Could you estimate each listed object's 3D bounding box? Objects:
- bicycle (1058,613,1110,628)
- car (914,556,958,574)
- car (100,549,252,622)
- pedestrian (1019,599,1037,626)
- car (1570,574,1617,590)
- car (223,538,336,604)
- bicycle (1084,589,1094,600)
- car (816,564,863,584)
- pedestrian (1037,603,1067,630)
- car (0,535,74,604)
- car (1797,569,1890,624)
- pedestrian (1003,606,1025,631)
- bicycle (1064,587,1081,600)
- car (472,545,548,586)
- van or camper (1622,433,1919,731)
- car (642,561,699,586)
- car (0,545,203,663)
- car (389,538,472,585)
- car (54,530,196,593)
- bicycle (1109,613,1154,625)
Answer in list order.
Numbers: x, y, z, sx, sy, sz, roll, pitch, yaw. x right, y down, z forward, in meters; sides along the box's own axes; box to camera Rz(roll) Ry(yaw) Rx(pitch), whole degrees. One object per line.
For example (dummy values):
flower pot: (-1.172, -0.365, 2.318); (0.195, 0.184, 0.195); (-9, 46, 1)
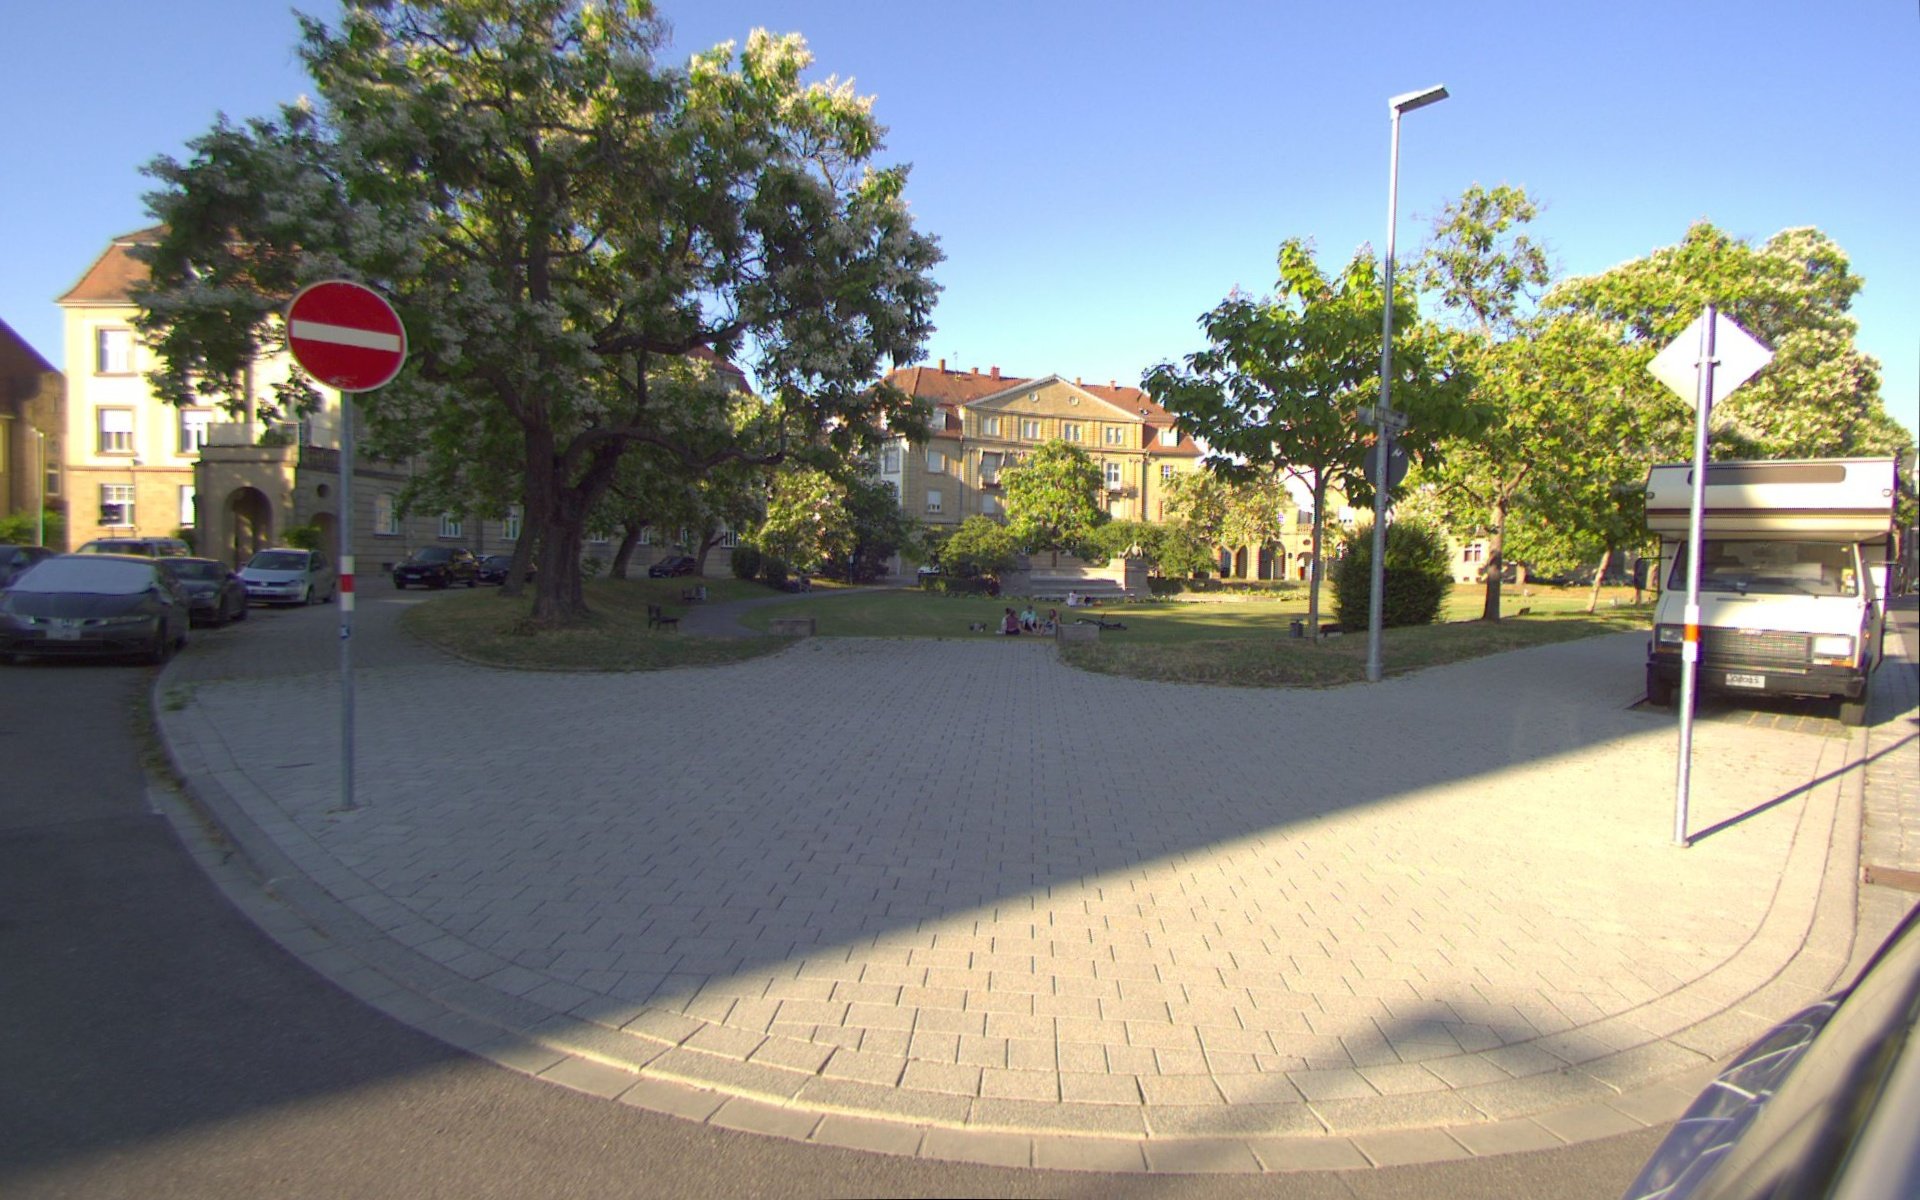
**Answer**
bicycle: (4.088, 0.669, 33.270); (1.901, 0.387, 0.658); (-2, 3, -45)
car: (-2.160, -3.163, 91.130); (3.639, 1.517, 1.724); (1, 1, -40)
car: (-15.629, -0.296, 20.378); (1.691, 1.313, 3.711); (1, 1, -26)
pedestrian: (2.224, 0.410, 33.044); (0.488, 0.845, 0.456); (0, 1, -14)
car: (61.614, -1.755, 98.452); (3.666, 1.517, 1.712); (1, 1, 26)
car: (-18.449, -0.765, 27.615); (1.690, 1.648, 3.713); (1, 1, -20)
bicycle: (6.671, -0.294, 52.497); (0.479, 0.590, 0.438); (0, 1, 4)
car: (-9.938, -2.192, 83.692); (1.762, 1.603, 3.957); (1, 2, 31)
pedestrian: (2.803, 0.496, 30.884); (0.794, 0.774, 0.499); (1, 1, -8)
car: (-23.532, -0.751, 24.543); (1.671, 1.595, 4.057); (-2, 3, -20)
car: (26.553, -0.152, 30.397); (1.993, 1.528, 3.939); (1, 2, 42)
pedestrian: (1.631, 0.557, 30.728); (0.496, 0.756, 0.448); (1, 2, 39)
bicycle: (5.838, -0.336, 52.509); (0.889, 0.660, 0.438); (0, 1, 5)
car: (-21.013, -1.584, 47.411); (1.695, 1.779, 3.700); (1, 1, 4)
van or camper: (10.201, -0.334, 12.509); (2.421, 2.815, 5.864); (5, 5, 41)
car: (-18.752, -1.727, 65.690); (1.705, 1.517, 3.679); (2, 1, 20)
car: (-12.183, 0.010, 14.436); (1.691, 1.445, 4.005); (1, 1, -30)
car: (-21.343, -1.503, 40.975); (1.691, 1.779, 3.709); (1, 1, -6)
car: (-25.628, -1.162, 31.236); (1.671, 1.818, 4.055); (0, 2, -12)
bicycle: (5.862, 0.654, 34.610); (1.676, 0.323, 0.658); (-2, 3, -45)
